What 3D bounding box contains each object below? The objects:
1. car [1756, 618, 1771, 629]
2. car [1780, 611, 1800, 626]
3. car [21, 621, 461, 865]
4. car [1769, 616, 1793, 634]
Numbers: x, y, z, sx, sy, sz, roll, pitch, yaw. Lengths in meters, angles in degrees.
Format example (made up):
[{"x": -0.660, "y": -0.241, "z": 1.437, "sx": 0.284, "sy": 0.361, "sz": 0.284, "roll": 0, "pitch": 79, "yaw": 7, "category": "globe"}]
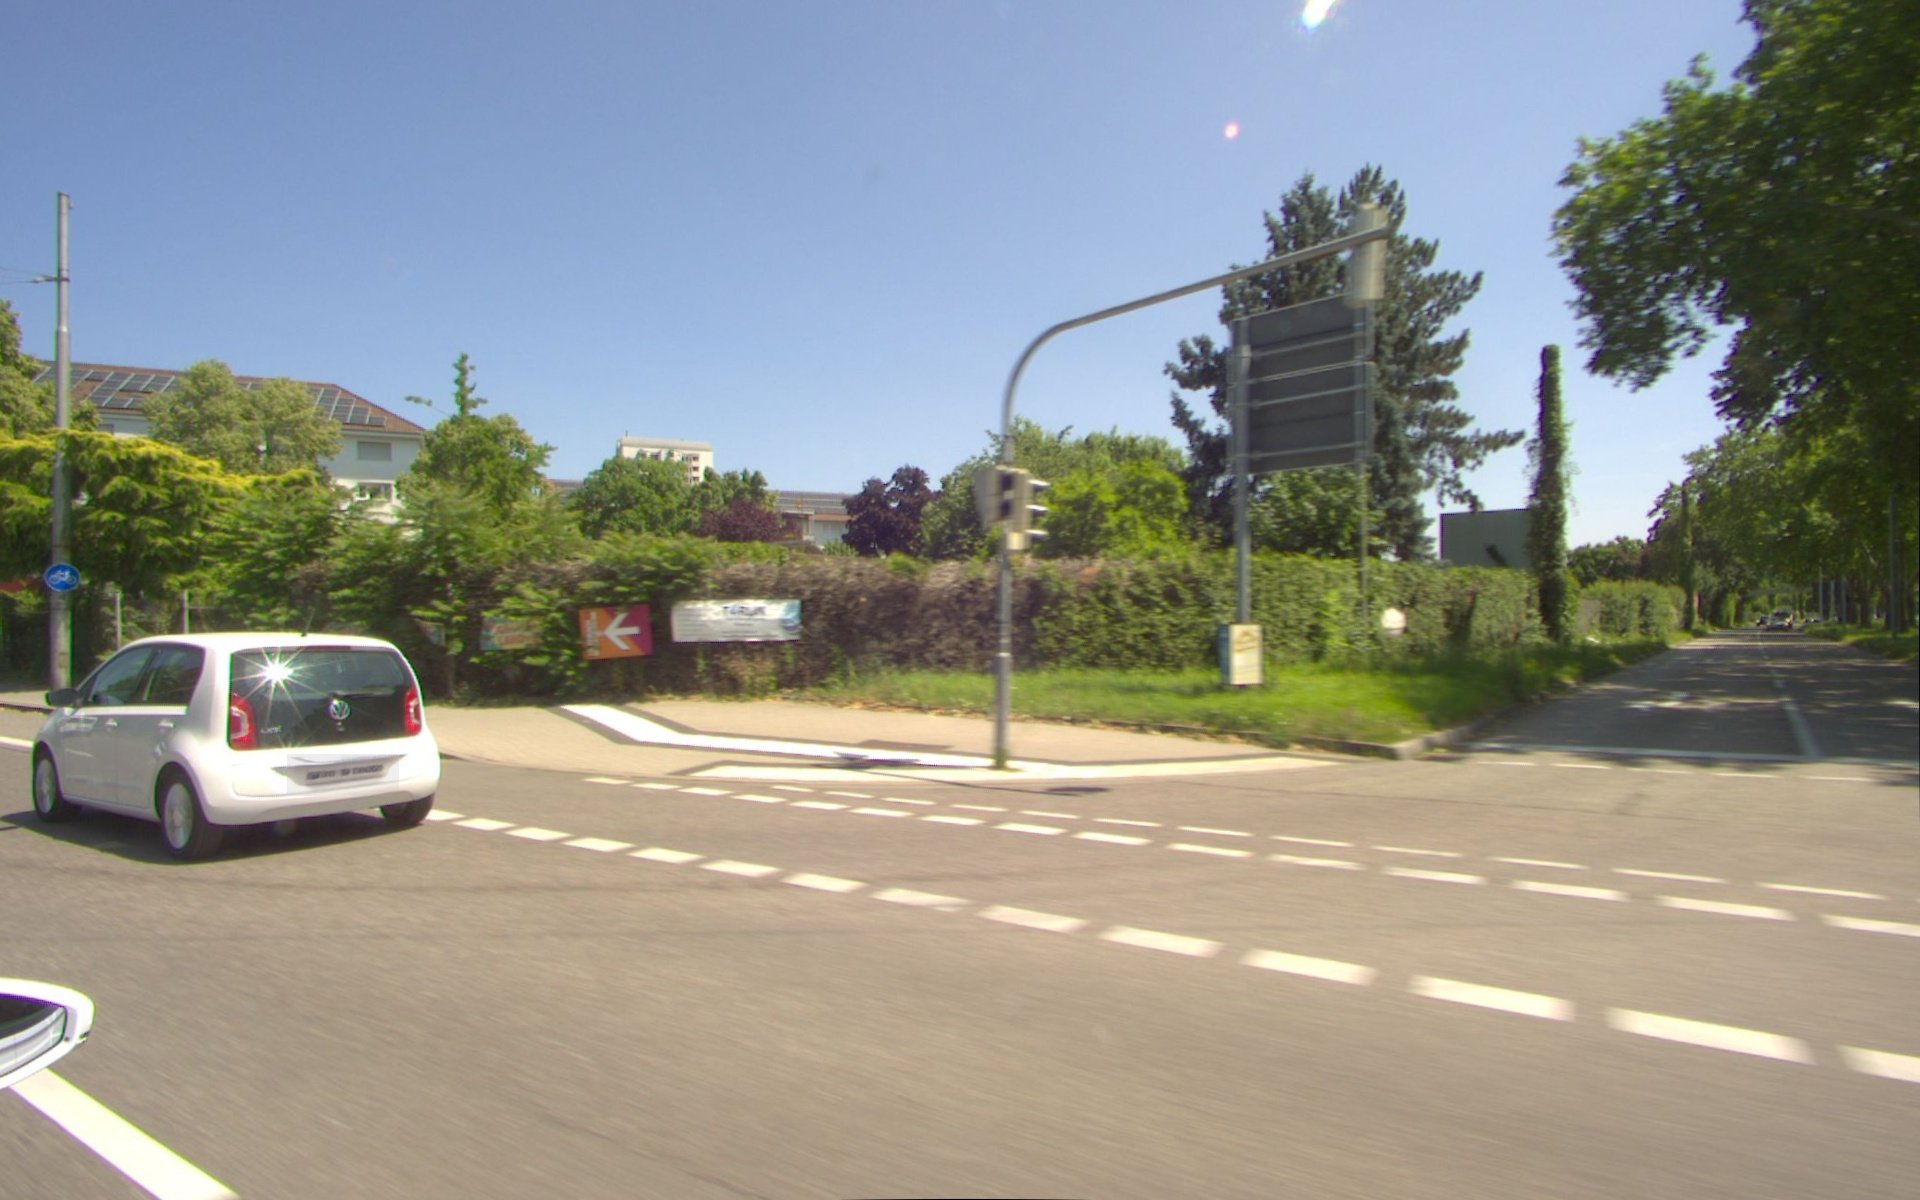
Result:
[{"x": 124.686, "y": 3.645, "z": 155.409, "sx": 1.738, "sy": 1.683, "sz": 3.874, "roll": -1, "pitch": -3, "yaw": 39, "category": "car"}, {"x": 100.420, "y": 2.237, "z": 121.114, "sx": 1.738, "sy": 1.683, "sz": 3.874, "roll": -1, "pitch": -3, "yaw": 39, "category": "car"}, {"x": -5.612, "y": 0.926, "z": 7.751, "sx": 3.386, "sy": 1.466, "sz": 1.607, "roll": 0, "pitch": -2, "yaw": 32, "category": "car"}, {"x": 82.225, "y": 2.547, "z": 100.290, "sx": 1.738, "sy": 1.683, "sz": 3.874, "roll": -1, "pitch": -3, "yaw": 39, "category": "car"}]
